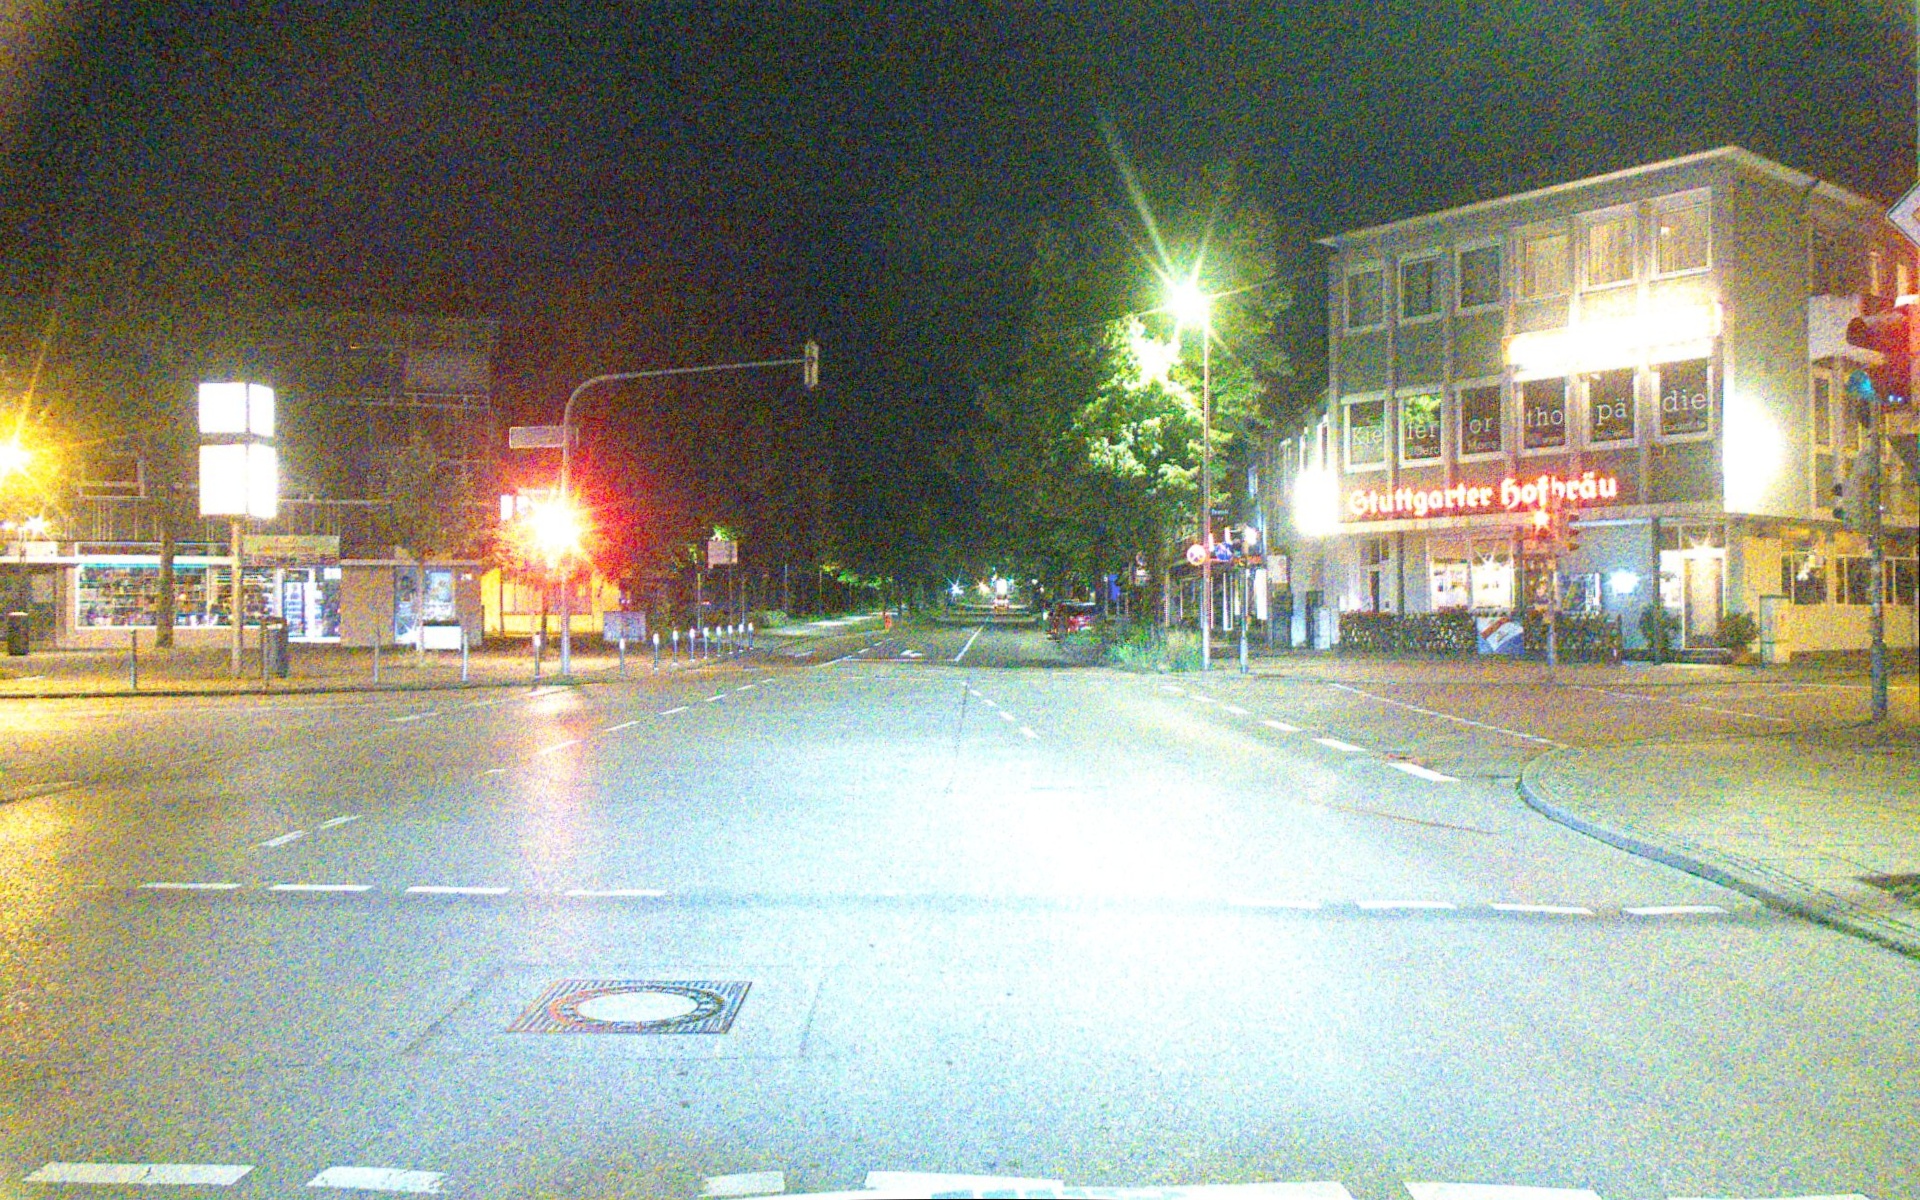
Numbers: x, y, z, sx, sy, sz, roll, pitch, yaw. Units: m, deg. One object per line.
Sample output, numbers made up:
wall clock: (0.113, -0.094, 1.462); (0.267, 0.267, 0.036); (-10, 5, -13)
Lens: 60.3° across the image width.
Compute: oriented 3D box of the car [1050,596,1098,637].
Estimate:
car: (4.726, 0.678, 68.854); (1.837, 1.643, 4.001); (0, 0, 2)

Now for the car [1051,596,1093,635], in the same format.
car: (5.150, 0.708, 76.531); (1.837, 1.759, 4.001); (0, 0, 2)

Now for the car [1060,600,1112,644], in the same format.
car: (4.826, 0.822, 63.668); (1.837, 1.643, 4.001); (0, 0, 2)

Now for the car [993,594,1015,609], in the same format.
car: (4.874, 0.157, 183.810); (2.182, 1.680, 3.999); (0, 0, -1)

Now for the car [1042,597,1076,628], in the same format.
car: (5.650, 0.710, 94.611); (1.837, 1.713, 4.001); (0, 0, 2)
